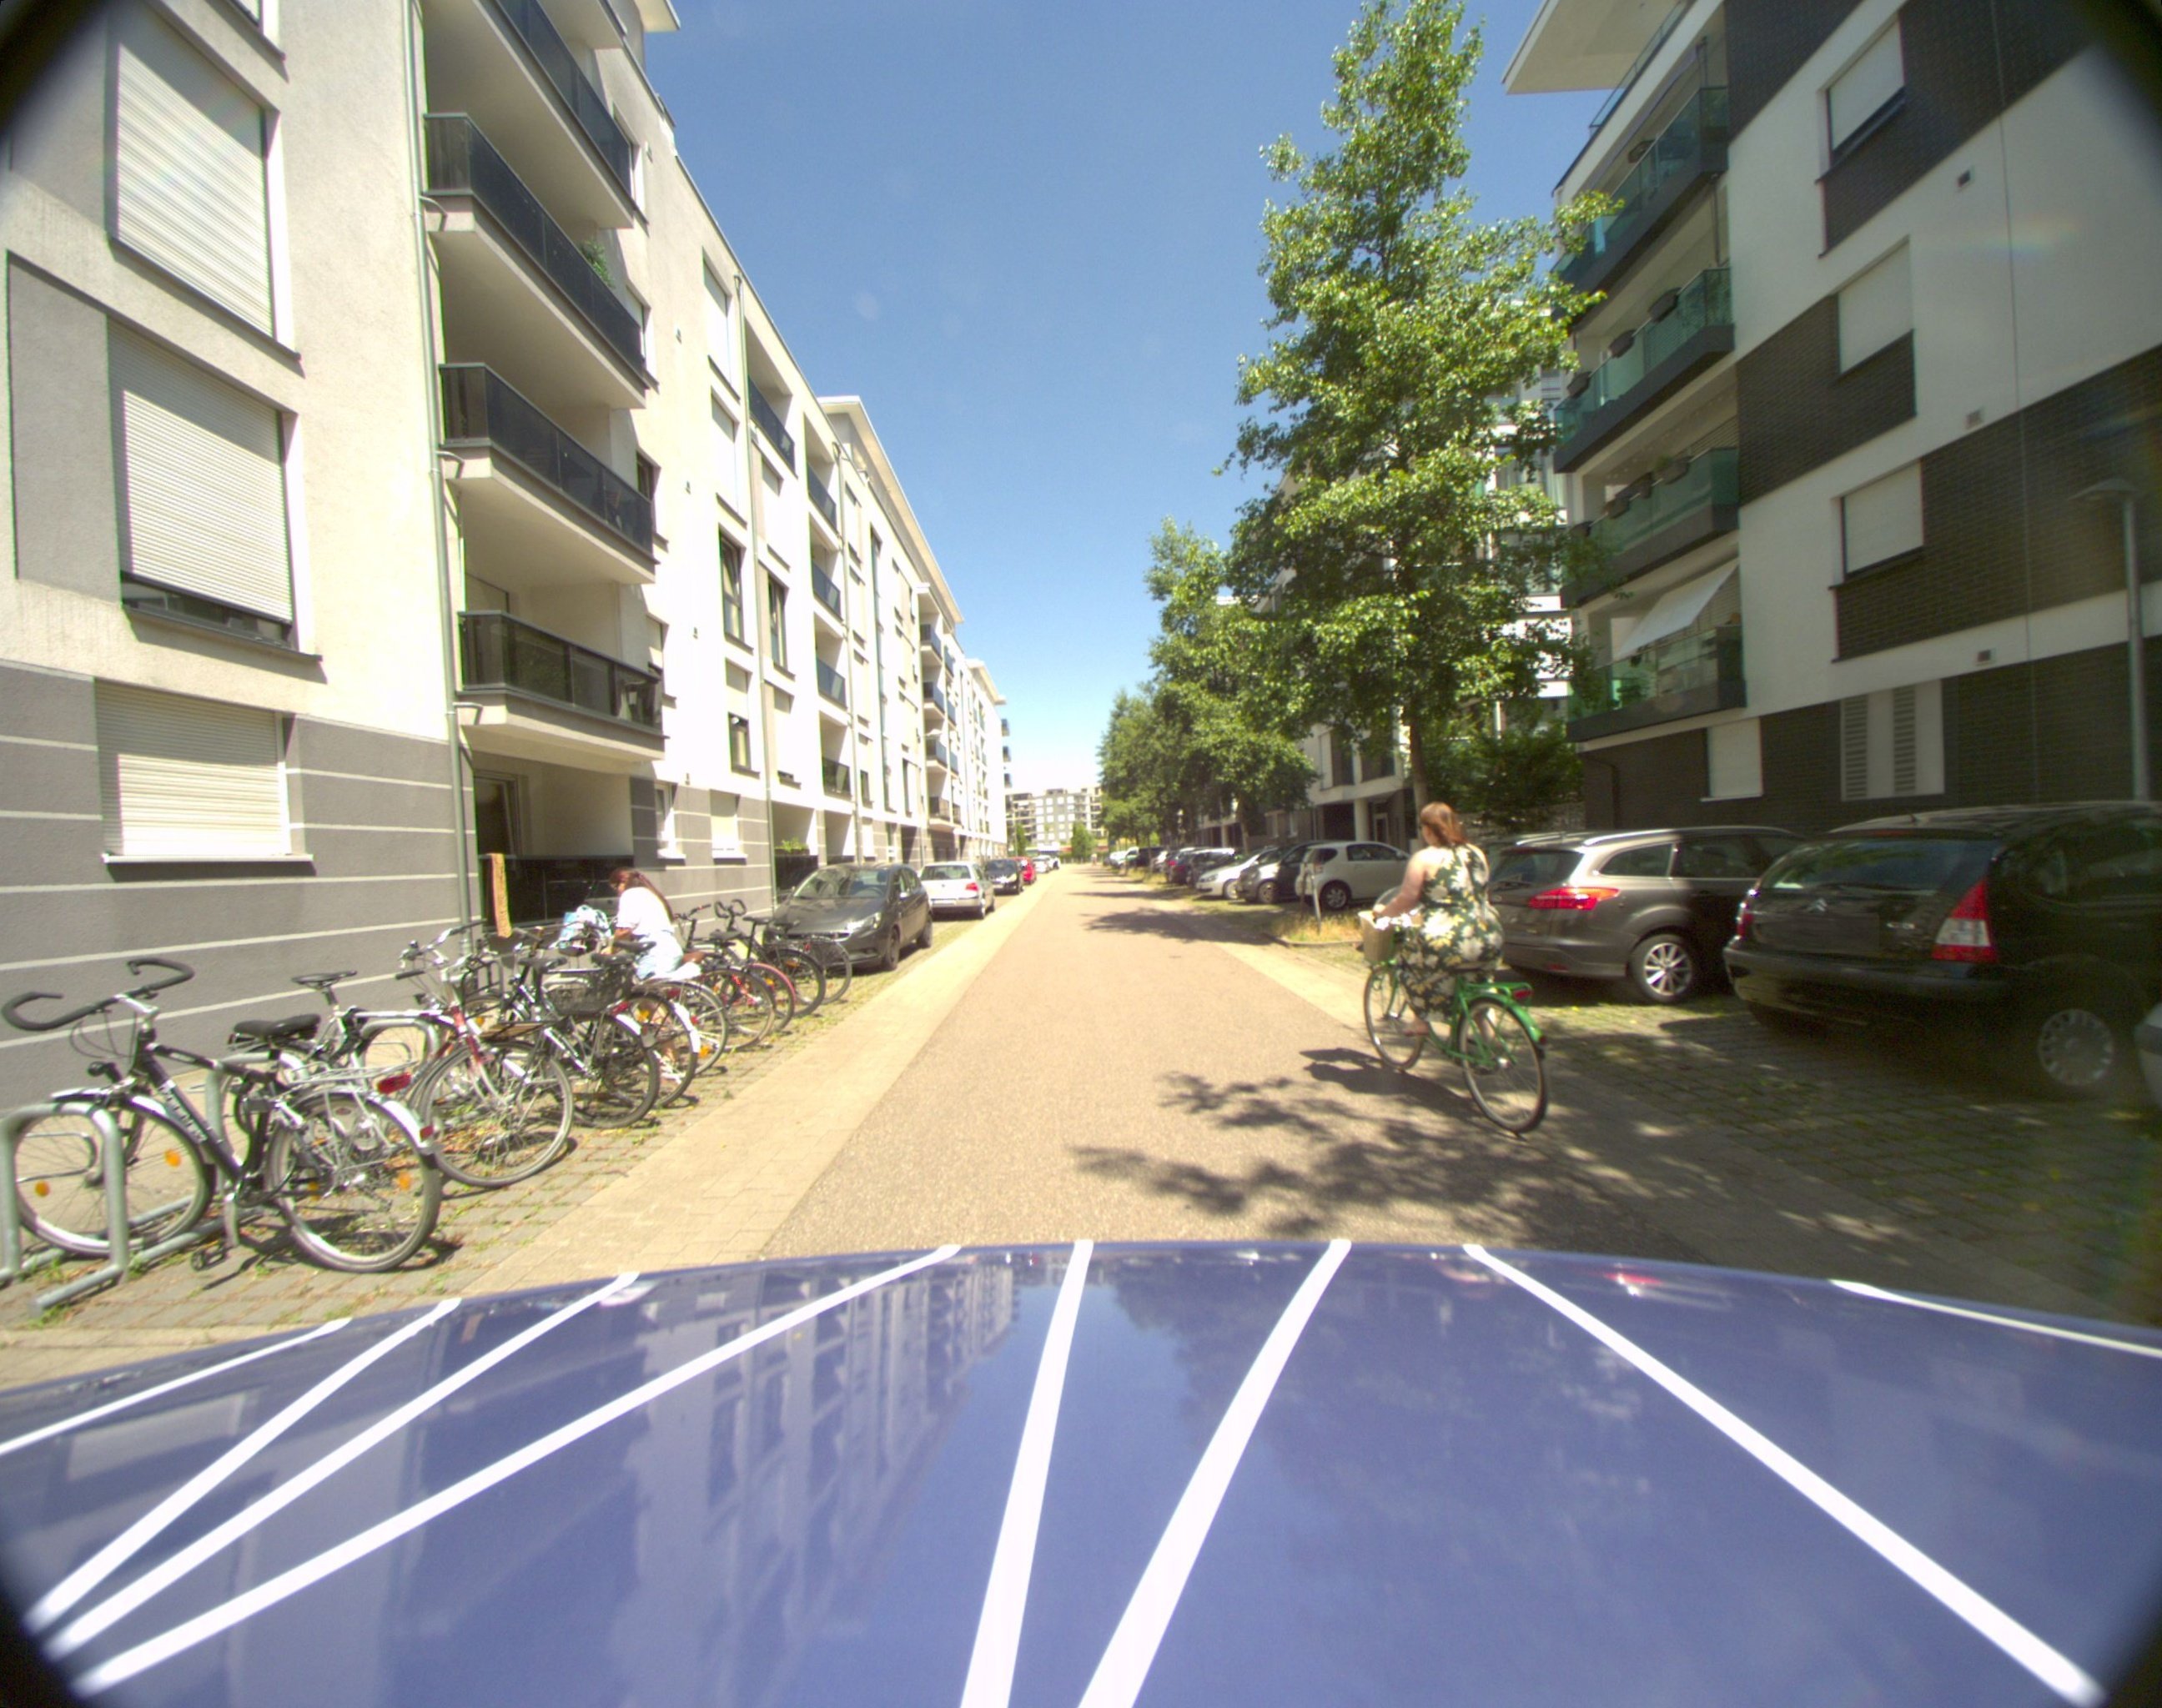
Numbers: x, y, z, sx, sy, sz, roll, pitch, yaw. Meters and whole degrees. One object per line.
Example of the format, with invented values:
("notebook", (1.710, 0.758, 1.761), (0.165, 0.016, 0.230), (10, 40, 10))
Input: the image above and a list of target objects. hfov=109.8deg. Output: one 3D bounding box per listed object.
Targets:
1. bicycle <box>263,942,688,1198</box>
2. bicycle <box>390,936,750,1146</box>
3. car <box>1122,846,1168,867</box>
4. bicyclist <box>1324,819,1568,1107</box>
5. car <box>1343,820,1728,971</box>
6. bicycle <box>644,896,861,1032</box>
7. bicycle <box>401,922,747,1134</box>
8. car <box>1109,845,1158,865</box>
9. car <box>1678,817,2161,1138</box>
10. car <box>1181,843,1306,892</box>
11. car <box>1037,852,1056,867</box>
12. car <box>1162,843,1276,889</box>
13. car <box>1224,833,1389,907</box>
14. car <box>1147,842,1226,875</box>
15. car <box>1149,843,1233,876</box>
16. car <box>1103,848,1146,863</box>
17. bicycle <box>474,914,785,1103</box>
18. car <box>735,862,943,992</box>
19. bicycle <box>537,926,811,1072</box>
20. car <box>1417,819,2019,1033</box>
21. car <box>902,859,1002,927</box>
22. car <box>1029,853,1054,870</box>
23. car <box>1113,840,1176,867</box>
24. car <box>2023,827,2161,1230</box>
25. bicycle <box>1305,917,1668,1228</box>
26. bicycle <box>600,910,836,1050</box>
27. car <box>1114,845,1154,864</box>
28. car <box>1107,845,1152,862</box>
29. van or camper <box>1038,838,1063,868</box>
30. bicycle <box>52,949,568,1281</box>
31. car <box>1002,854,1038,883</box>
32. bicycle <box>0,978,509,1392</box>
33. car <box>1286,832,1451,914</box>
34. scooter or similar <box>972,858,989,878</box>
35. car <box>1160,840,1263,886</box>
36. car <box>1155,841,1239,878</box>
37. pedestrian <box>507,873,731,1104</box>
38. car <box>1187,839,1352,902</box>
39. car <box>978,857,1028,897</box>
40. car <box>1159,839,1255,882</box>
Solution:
("bicycle", (-3.263, 1.118, 4.156), (1.927, 1.172, 0.638), (-2, 1, 9))
("bicycle", (-3.166, 1.124, 4.762), (1.927, 1.127, 0.609), (-2, 1, 9))
("car", (5.366, 0.214, 63.942), (3.632, 1.473, 1.678), (-4, 1, -1))
("bicyclist", (2.025, 0.563, 4.342), (0.956, 1.451, 0.799), (-3, 1, -1))
("car", (5.852, 0.504, 10.157), (3.948, 1.544, 1.872), (-4, 1, -1))
("bicycle", (-3.319, 1.093, 7.813), (1.875, 1.211, 0.715), (-2, 1, -4))
("bicycle", (-3.302, 1.100, 5.127), (1.841, 1.142, 0.460), (-2, 1, -19))
("car", (5.289, 0.101, 76.909), (4.571, 1.585, 1.965), (-5, 1, -5))
("car", (6.364, 0.564, 4.619), (3.996, 1.546, 1.800), (-2, 1, 2))
("car", (5.742, 0.467, 27.274), (3.997, 1.414, 1.897), (-5, 0, 1))
("car", (-3.427, 0.531, 76.644), (1.812, 1.496, 4.259), (-2, 0, -2))
("car", (5.349, 0.435, 29.745), (3.985, 1.437, 1.774), (-4, 1, -4))
("car", (5.948, 0.397, 20.321), (3.719, 1.577, 1.820), (-5, 1, -5))
("car", (6.191, 0.244, 44.836), (4.263, 1.509, 1.924), (-5, 1, -1))
("car", (6.076, 0.291, 42.391), (4.327, 1.467, 1.792), (-4, 0, 0))
("car", (5.390, 0.203, 94.548), (5.112, 1.476, 1.927), (-4, 1, -3))
("bicycle", (-3.316, 1.113, 5.711), (1.930, 1.211, 0.460), (-2, 1, -9))
("car", (-3.360, 0.918, 11.456), (1.743, 1.476, 4.228), (-2, 0, 0))
("bicycle", (-3.351, 1.184, 6.374), (1.929, 1.029, 0.559), (-2, 1, -4))
("car", (5.769, 0.559, 7.261), (4.192, 1.478, 1.958), (-4, 2, -4))
("car", (-3.211, 0.914, 19.774), (1.839, 1.496, 4.350), (-1, 0, 0))
("car", (-3.490, 0.642, 67.632), (1.850, 1.408, 4.425), (-3, 1, 1))
("car", (5.554, -0.069, 66.730), (5.355, 2.098, 2.187), (-3, 1, 2))
("car", (5.885, 0.552, 2.343), (3.639, 1.512, 1.831), (-4, 1, 0))
("bicycle", (2.050, 1.025, 4.290), (0.901, 1.122, 2.039), (-3, 0, -1))
("bicycle", (-3.304, 1.131, 7.067), (1.791, 1.098, 0.746), (-2, 1, -4))
("car", (5.554, 0.030, 79.541), (3.990, 1.620, 1.949), (-4, 1, 2))
("car", (5.645, -0.062, 89.486), (5.042, 1.623, 2.042), (-4, 0, -3))
("van or camper", (-3.244, -0.170, 82.922), (2.445, 2.889, 7.824), (-4, 1, -1))
("bicycle", (-3.393, 1.114, 3.474), (1.555, 1.211, 0.707), (-2, 1, -2))
("car", (-3.227, 0.753, 40.929), (1.599, 1.477, 3.675), (-1, 0, 0))
("bicycle", (-3.280, 1.125, 2.765), (1.864, 1.186, 0.687), (-2, 1, 3))
("car", (6.464, 0.405, 17.319), (2.940, 1.491, 1.848), (-5, 1, -1))
("scooter or similar", (-6.766, 0.939, 51.256), (0.546, 1.218, 1.531), (-4, 0, 15))
("car", (5.511, 0.361, 32.394), (3.997, 1.641, 1.918), (-4, 1, 1))
("car", (6.028, 0.270, 39.829), (3.997, 1.582, 1.883), (-4, 0, 0))
("pedestrian", (-3.325, 0.923, 5.581), (1.182, 1.506, 0.687), (-2, 1, -10))
("car", (5.541, 0.470, 22.736), (4.372, 1.700, 1.999), (-1, 1, -3))
("car", (-3.144, 0.907, 31.163), (1.647, 1.454, 4.117), (-1, 0, -1))
("car", (5.747, 0.268, 34.919), (3.997, 1.620, 1.933), (-4, 1, 0))
